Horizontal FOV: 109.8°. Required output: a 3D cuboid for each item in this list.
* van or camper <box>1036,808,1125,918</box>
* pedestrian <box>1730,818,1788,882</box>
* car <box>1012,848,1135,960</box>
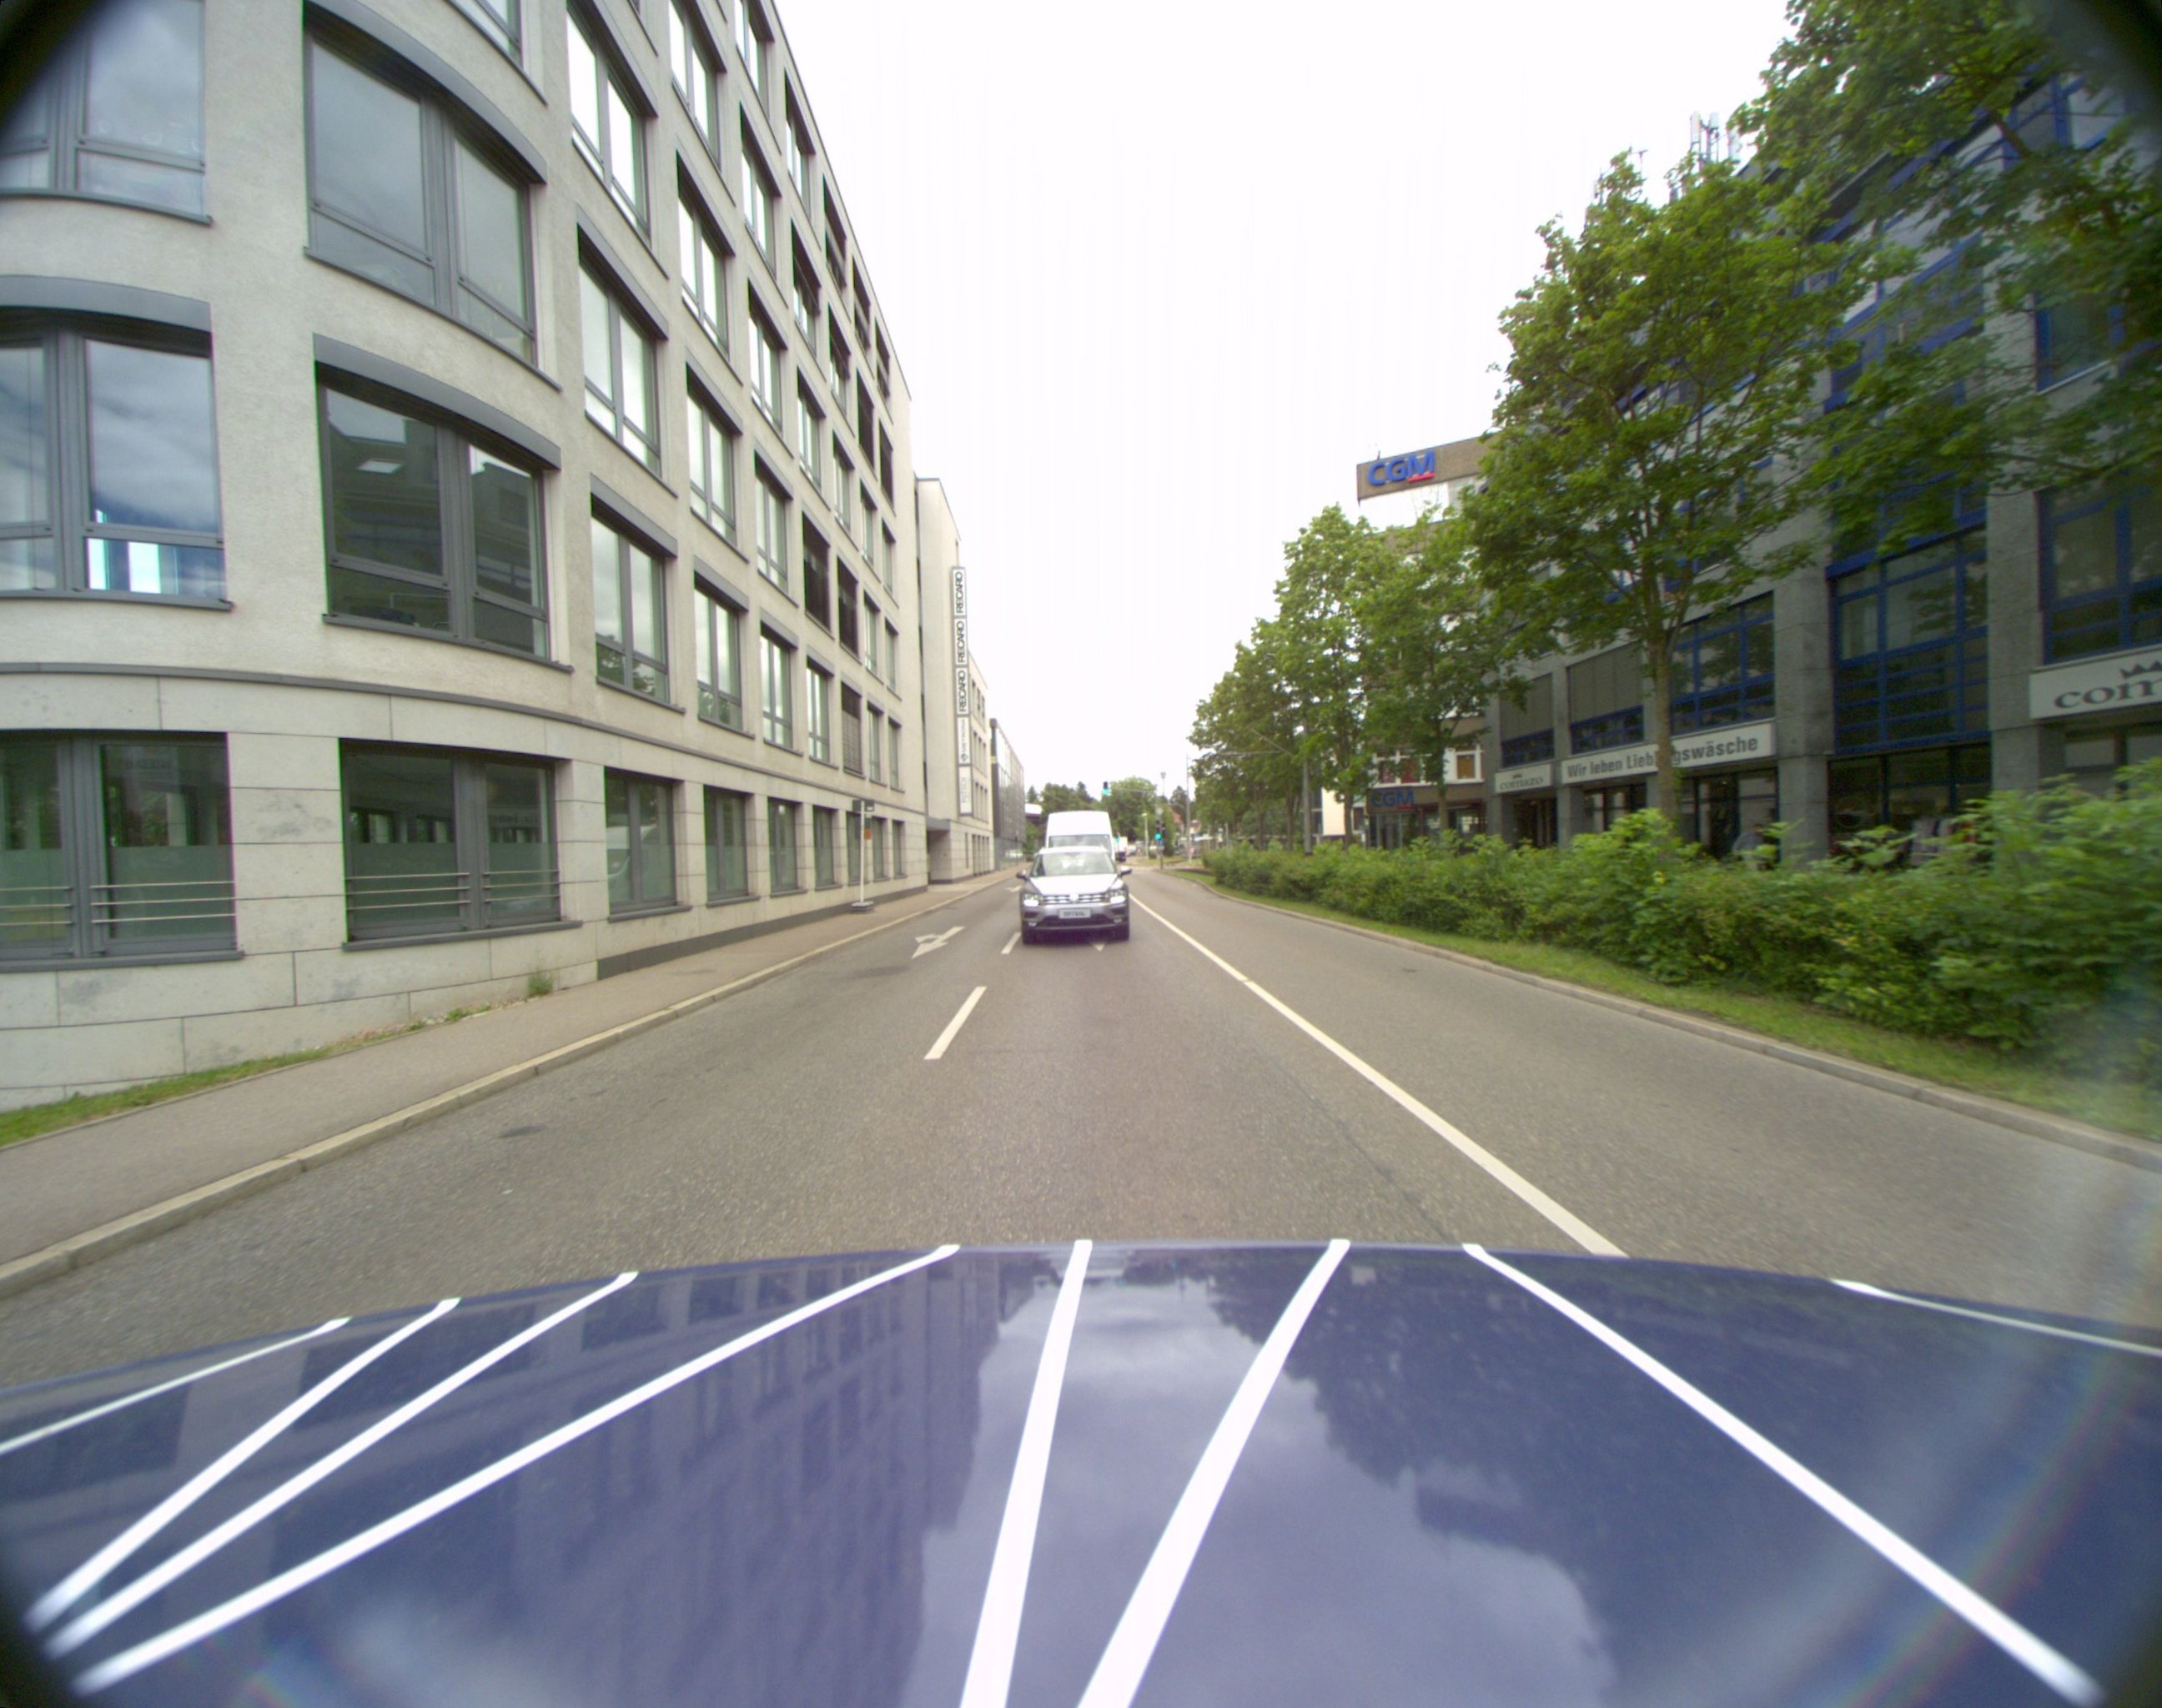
[{"bbox_3d":[-0.006,0.199,22.435,2.110,2.675,6.298,-4,1,0],"label":"van or camper"},{"bbox_3d":[16.209,-0.097,18.175,0.699,1.474,0.679,-4,1,0],"label":"pedestrian"},{"bbox_3d":[-0.117,0.766,14.084,1.834,1.636,4.325,-4,1,0],"label":"car"}]
